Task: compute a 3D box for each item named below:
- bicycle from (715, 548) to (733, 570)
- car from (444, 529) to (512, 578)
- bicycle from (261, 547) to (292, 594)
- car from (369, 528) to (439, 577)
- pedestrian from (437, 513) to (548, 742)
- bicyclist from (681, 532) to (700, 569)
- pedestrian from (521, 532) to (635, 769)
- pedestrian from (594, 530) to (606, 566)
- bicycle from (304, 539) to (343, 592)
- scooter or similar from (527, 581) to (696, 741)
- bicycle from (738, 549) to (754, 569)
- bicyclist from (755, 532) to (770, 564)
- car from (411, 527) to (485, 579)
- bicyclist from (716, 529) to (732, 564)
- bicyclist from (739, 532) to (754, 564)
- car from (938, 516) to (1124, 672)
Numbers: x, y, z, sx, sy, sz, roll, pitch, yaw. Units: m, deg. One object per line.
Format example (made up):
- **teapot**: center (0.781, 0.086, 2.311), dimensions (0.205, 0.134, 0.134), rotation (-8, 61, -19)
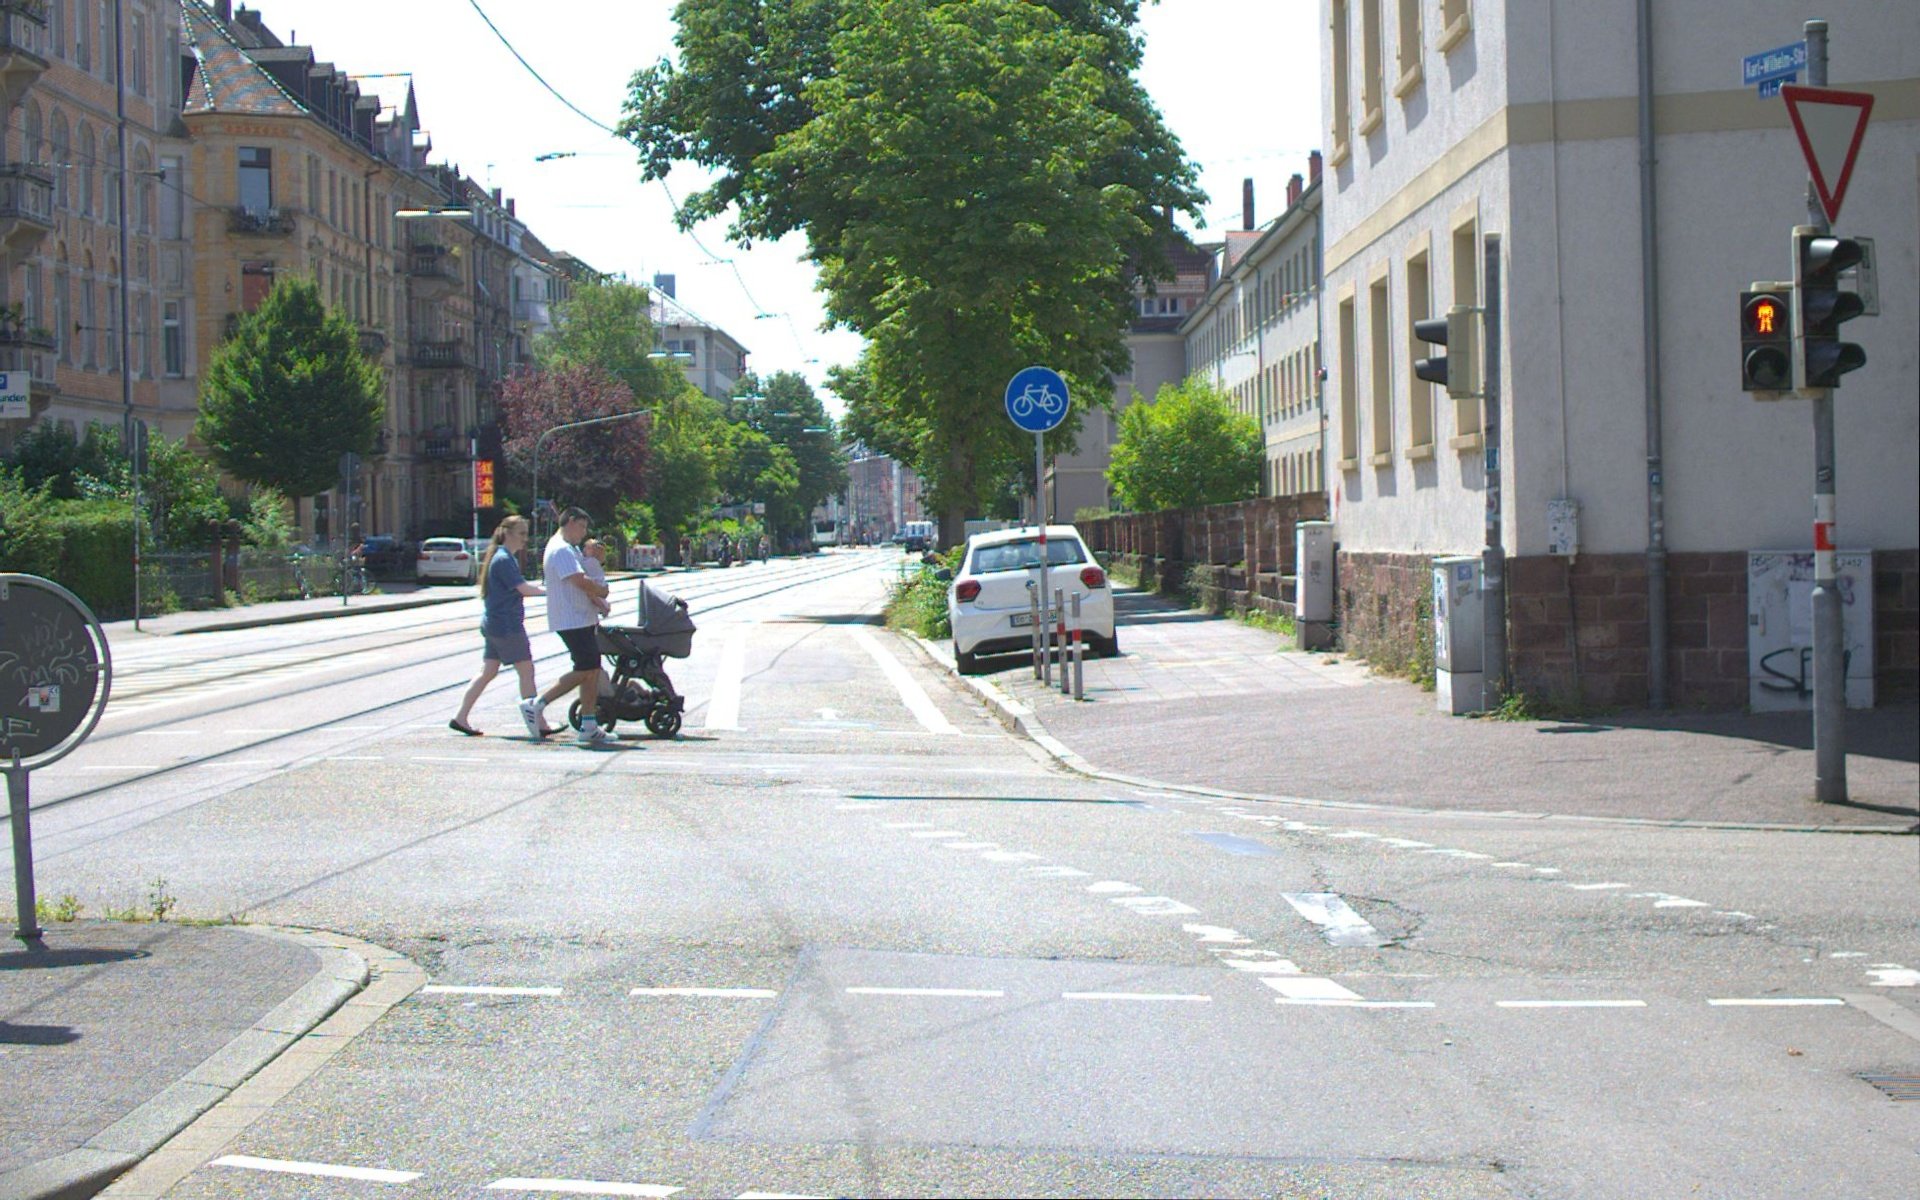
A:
- **bicycle**: center (-12.157, -2.124, 176.836), dimensions (0.727, 1.119, 2.085), rotation (1, 1, 1)
- **car**: center (-17.337, -1.661, 123.832), dimensions (1.919, 1.709, 4.000), rotation (1, 1, -1)
- **bicycle**: center (-15.906, -0.699, 80.028), dimensions (0.677, 1.061, 1.919), rotation (-1, 1, -11)
- **car**: center (-20.023, -1.699, 123.905), dimensions (1.919, 1.709, 4.000), rotation (1, 1, -1)
- **pedestrian**: center (-3.409, 0.196, 25.101), dimensions (0.675, 1.640, 0.558), rotation (1, 0, 5)
- **bicyclist**: center (-12.002, -2.216, 153.237), dimensions (0.727, 1.623, 1.079), rotation (1, 0, 1)
- **pedestrian**: center (-2.685, 0.351, 24.208), dimensions (0.675, 1.640, 0.558), rotation (1, 0, 5)
- **pedestrian**: center (-14.772, -2.122, 141.190), dimensions (0.406, 1.456, 0.436), rotation (-1, 1, -1)
- **bicycle**: center (-15.663, -0.849, 84.671), dimensions (0.677, 1.274, 1.919), rotation (-1, 1, -3)
- **scooter or similar**: center (-2.575, 0.448, 25.356), dimensions (1.201, 1.151, 0.559), rotation (1, 0, -8)
- **bicycle**: center (-12.196, -2.321, 195.912), dimensions (0.727, 1.119, 2.085), rotation (1, 1, 1)
- **bicyclist**: center (-11.256, -2.966, 195.834), dimensions (0.727, 1.812, 1.079), rotation (1, 0, 1)
- **car**: center (-17.193, -1.576, 115.567), dimensions (1.919, 1.709, 4.000), rotation (1, 1, -1)
- **bicyclist**: center (-12.146, -2.749, 176.863), dimensions (0.727, 1.762, 1.079), rotation (1, 0, 1)
- **bicyclist**: center (-12.182, -2.940, 195.893), dimensions (0.727, 1.812, 1.079), rotation (1, 0, 1)
- **car**: center (0.720, -0.083, 37.330), dimensions (1.815, 1.511, 4.000), rotation (-3, 1, -1)
